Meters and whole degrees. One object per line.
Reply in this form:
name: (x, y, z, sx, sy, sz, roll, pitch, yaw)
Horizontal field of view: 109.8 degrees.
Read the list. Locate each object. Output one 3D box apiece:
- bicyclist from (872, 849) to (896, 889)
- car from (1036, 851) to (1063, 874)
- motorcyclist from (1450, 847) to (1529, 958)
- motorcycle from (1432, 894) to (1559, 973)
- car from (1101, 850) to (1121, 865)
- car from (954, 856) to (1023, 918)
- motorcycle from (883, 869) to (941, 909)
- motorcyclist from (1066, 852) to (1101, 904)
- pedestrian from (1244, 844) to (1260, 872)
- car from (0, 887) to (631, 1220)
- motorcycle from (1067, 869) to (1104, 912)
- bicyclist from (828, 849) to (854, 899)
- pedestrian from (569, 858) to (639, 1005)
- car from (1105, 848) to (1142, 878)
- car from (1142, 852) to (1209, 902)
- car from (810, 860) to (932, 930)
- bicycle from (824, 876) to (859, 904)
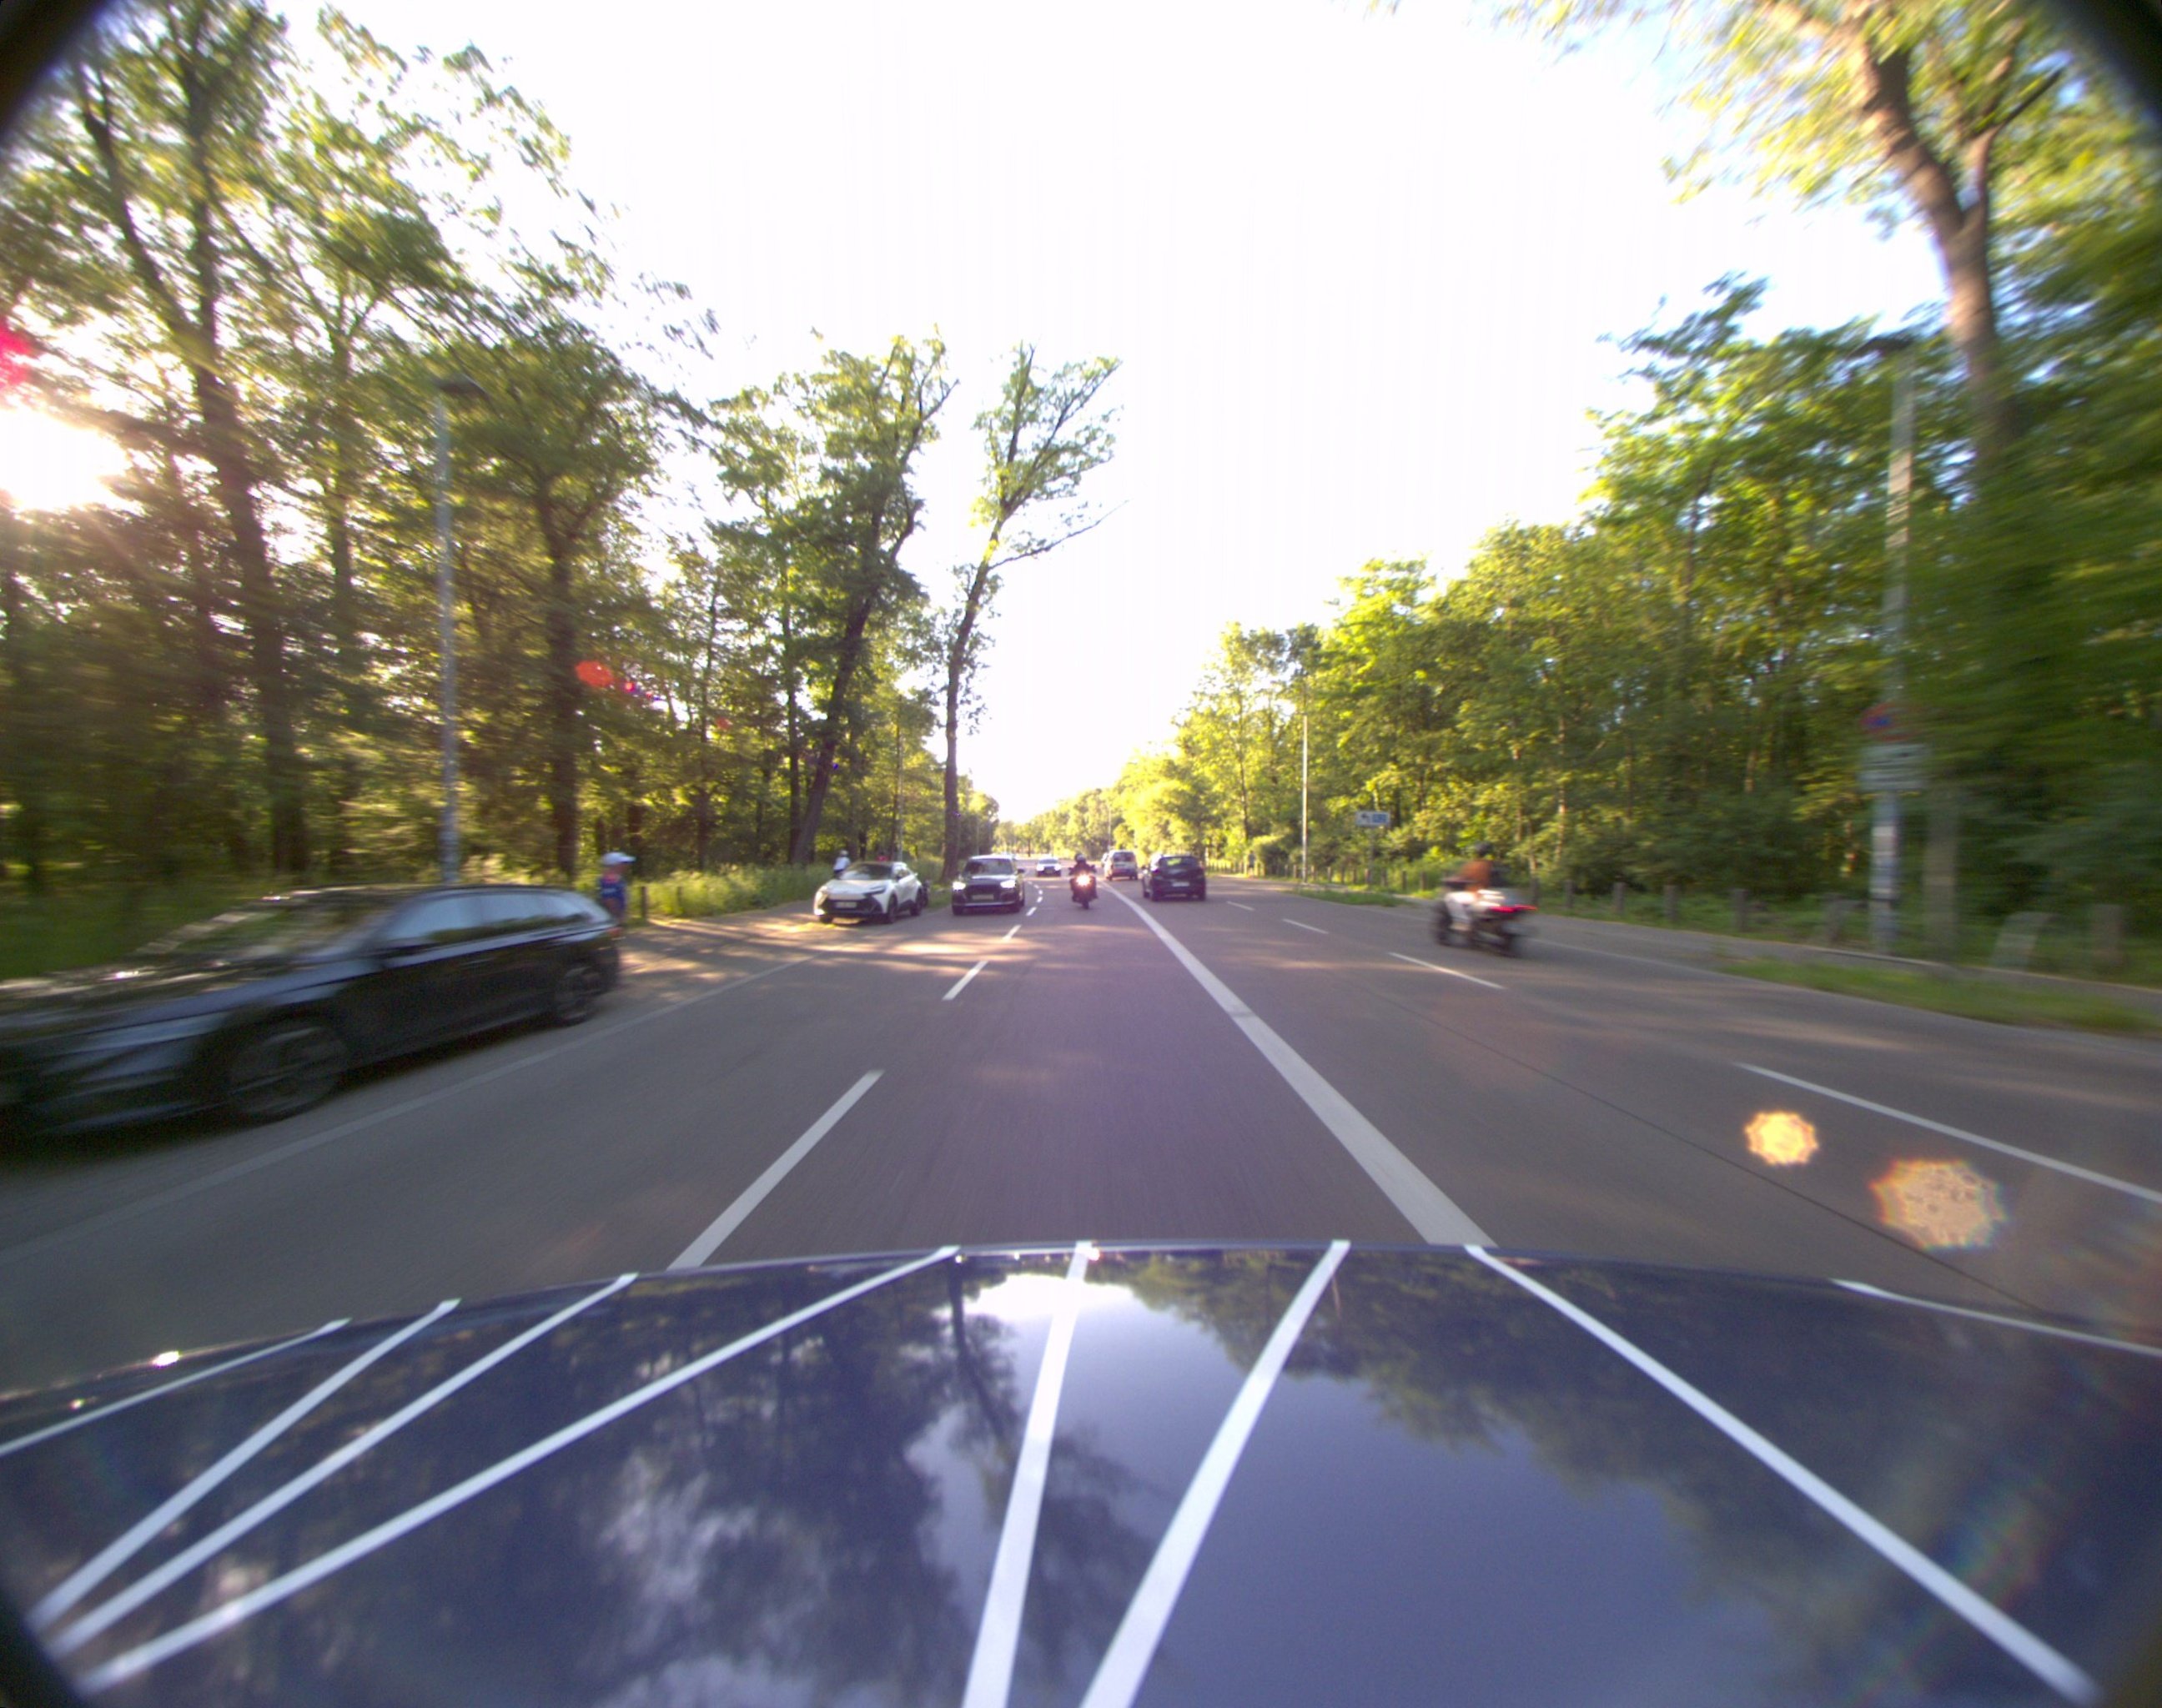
bicyclist: (-7.869, 0.598, 30.435, 0.703, 1.552, 0.876, 1, 1, 0)
car: (-2.470, 0.644, 59.338, 1.999, 1.761, 4.230, -1, 0, -3)
motorcyclist: (5.901, 0.670, 11.019, 0.658, 1.532, 0.904, -1, 1, 0)
motorcycle: (5.906, 1.089, 10.986, 0.670, 0.899, 2.166, -1, 0, 0)
car: (3.572, 0.394, 91.142, 1.999, 1.649, 4.447, -1, 0, -1)
car: (-2.682, 0.906, 22.803, 1.862, 1.608, 3.998, -1, 1, -5)
motorcycle: (-5.483, 1.132, 24.675, 1.738, 1.246, 0.771, 0, 1, -4)
motorcyclist: (0.070, 0.712, 23.003, 0.953, 1.523, 1.073, -2, 1, -2)
pedestrian: (10.827, 0.253, 48.070, 0.773, 1.758, 0.737, 1, 1, -5)
car: (-5.925, 1.101, 6.086, 1.857, 1.426, 4.534, 1, 0, 1)
motorcycle: (0.088, 1.076, 23.286, 0.956, 1.098, 3.339, -3, 0, -2)
bicyclist: (-8.276, 0.668, 26.238, 0.597, 1.706, 0.834, 0, 1, 1)
pedestrian: (-5.925, 0.931, 9.468, 0.513, 1.746, 0.735, 0, 1, -12)
car: (2.595, 0.522, 47.050, 1.911, 1.746, 4.799, -1, 0, -1)
car: (3.099, 0.714, 25.724, 1.810, 1.536, 4.089, -1, 0, 1)
car: (-5.434, 0.990, 20.312, 1.810, 1.551, 4.457, 2, 0, 2)
bicycle: (-8.266, 1.232, 26.268, 0.593, 0.878, 1.931, 0, 0, 0)
